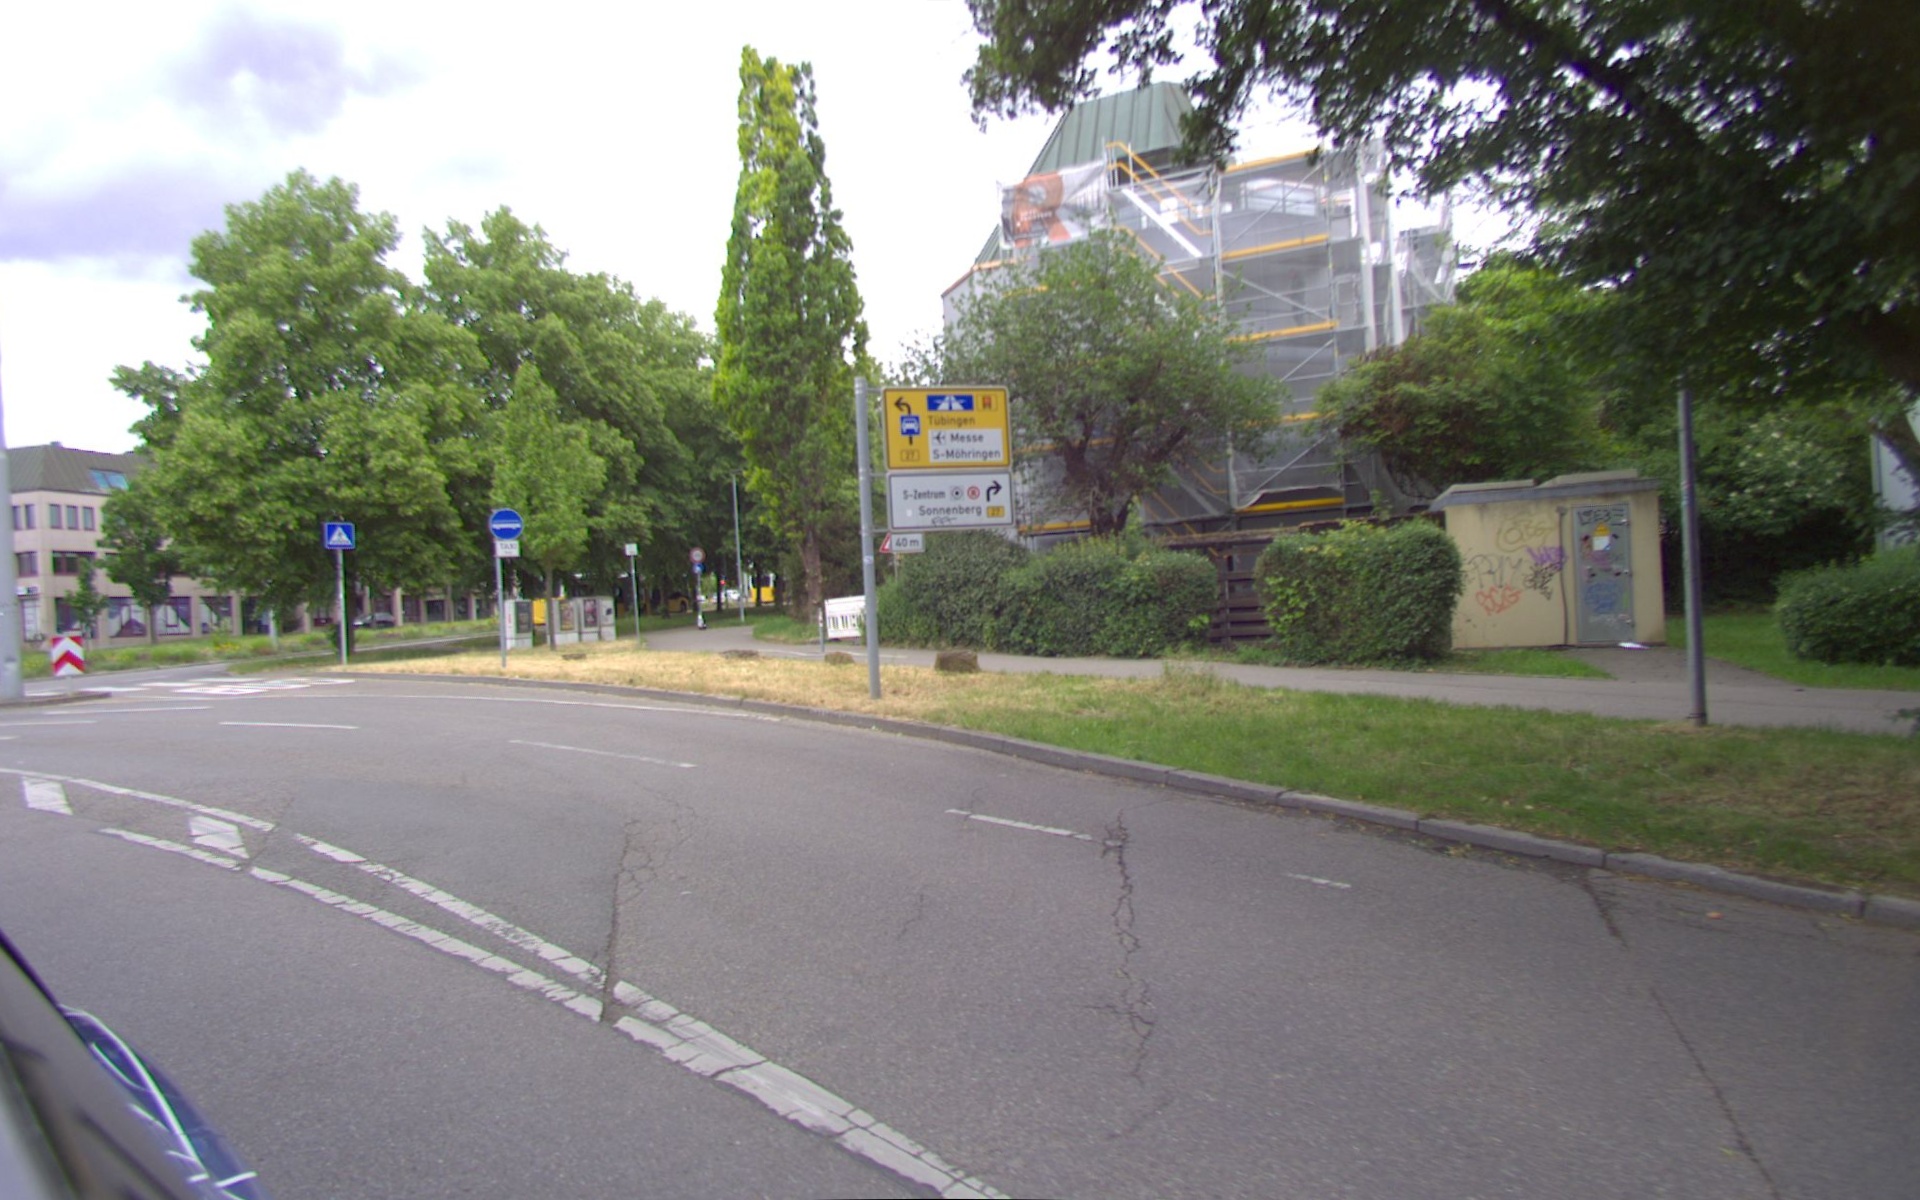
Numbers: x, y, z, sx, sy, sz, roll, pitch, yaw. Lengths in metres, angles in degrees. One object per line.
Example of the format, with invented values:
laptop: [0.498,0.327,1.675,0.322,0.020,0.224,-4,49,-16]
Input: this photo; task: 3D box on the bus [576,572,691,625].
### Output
bus: [-22.057,-0.199,69.166,3.021,3.031,9.666,-5,1,11]

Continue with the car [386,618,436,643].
car: [-49.230,2.729,90.875,1.975,1.829,3.994,-5,2,6]

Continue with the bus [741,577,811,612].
bus: [-18.897,-0.660,104.852,3.264,3.031,10.190,-5,1,13]

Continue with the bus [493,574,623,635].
bus: [-23.694,0.139,60.288,3.021,3.031,8.403,-5,1,11]

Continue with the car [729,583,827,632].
car: [-6.959,0.254,39.029,1.639,1.682,3.915,-2,1,26]

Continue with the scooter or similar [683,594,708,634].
scooter or similar: [-10.072,0.542,38.516,0.546,1.456,1.598,-5,1,-24]

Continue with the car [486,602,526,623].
car: [-47.483,1.300,106.011,1.975,1.829,3.994,-5,2,6]
